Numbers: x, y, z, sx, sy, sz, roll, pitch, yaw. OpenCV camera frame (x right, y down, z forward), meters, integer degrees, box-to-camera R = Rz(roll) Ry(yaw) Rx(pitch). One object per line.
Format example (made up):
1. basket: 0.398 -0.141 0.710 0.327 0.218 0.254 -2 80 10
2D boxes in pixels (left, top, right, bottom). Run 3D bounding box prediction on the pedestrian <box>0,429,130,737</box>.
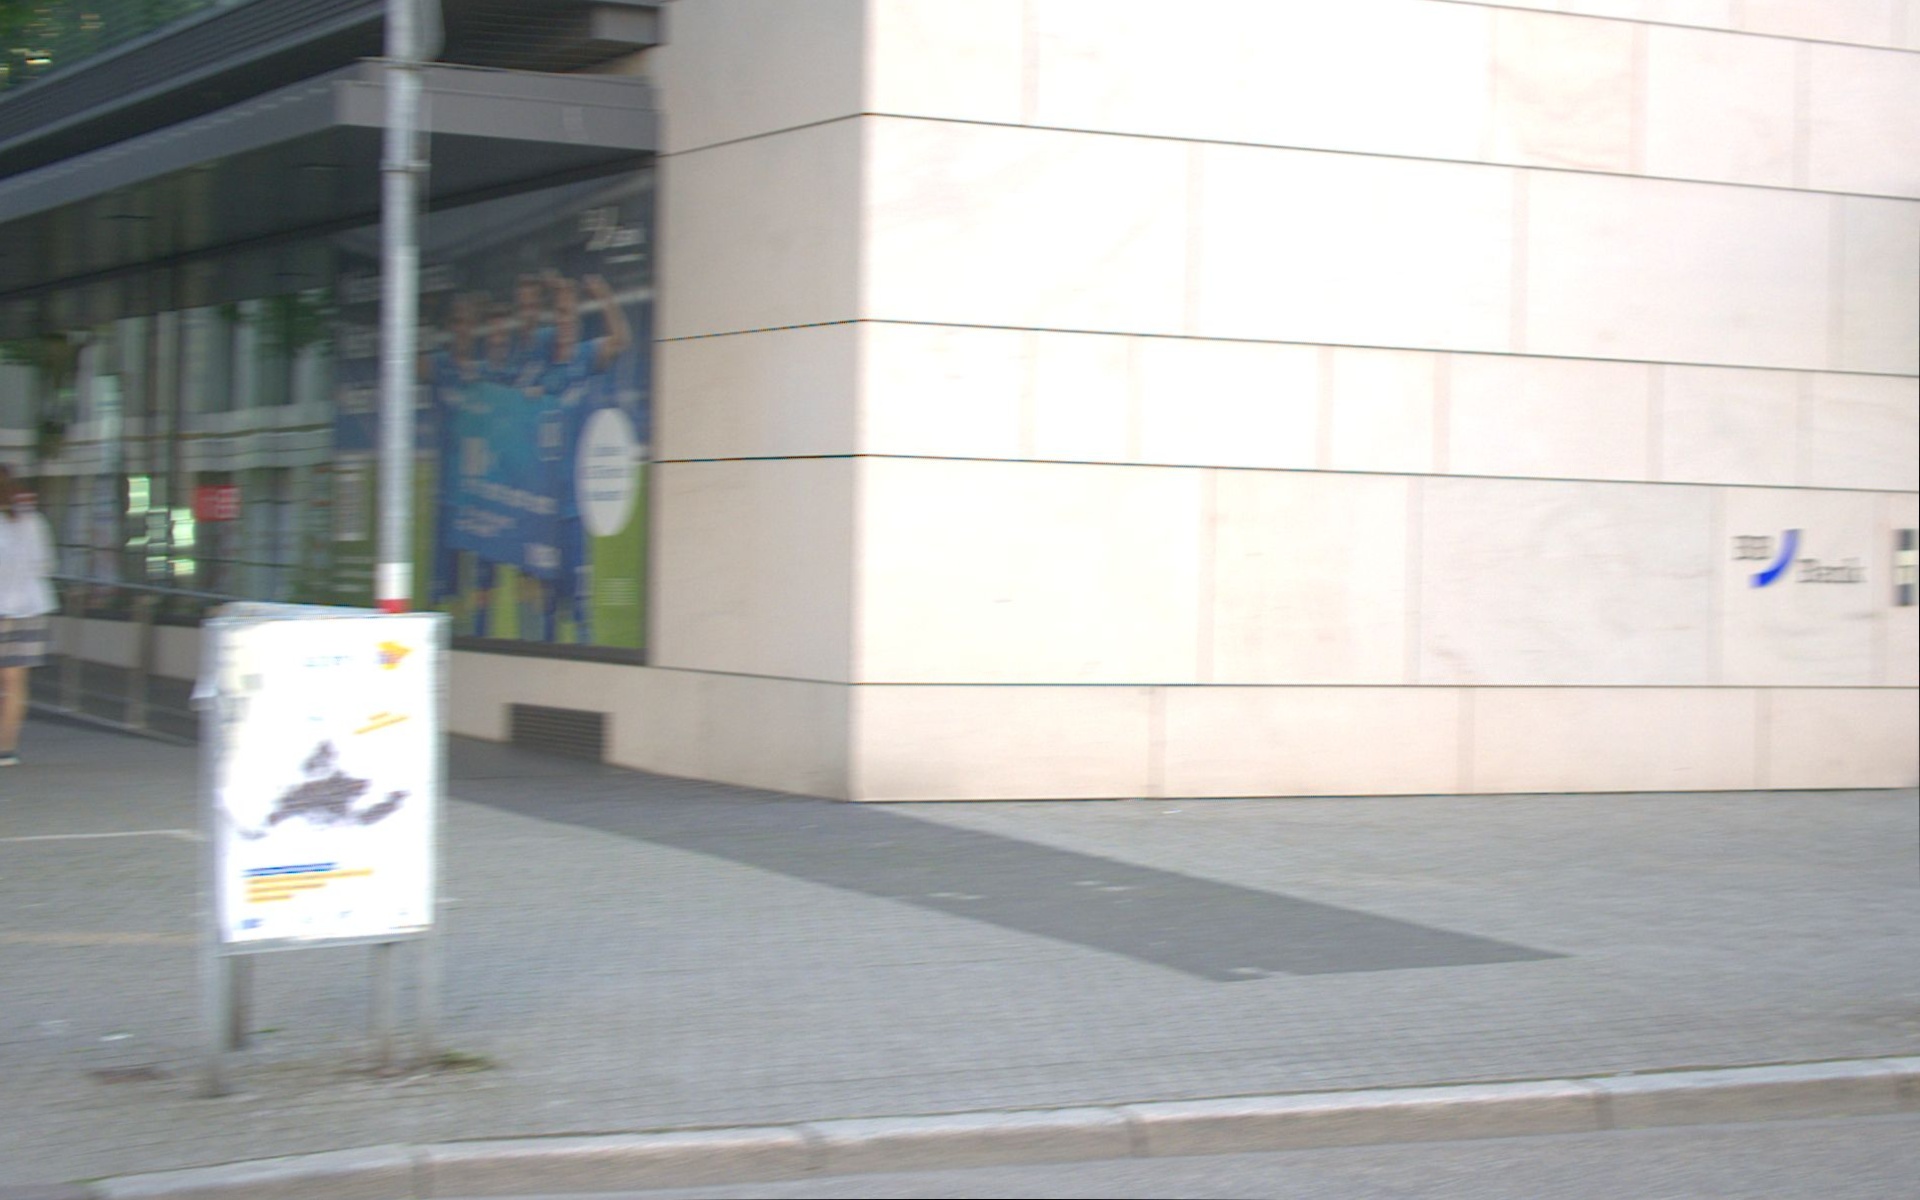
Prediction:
1. pedestrian: -5.300 -0.105 19.534 0.905 1.700 0.834 -2 2 -28
